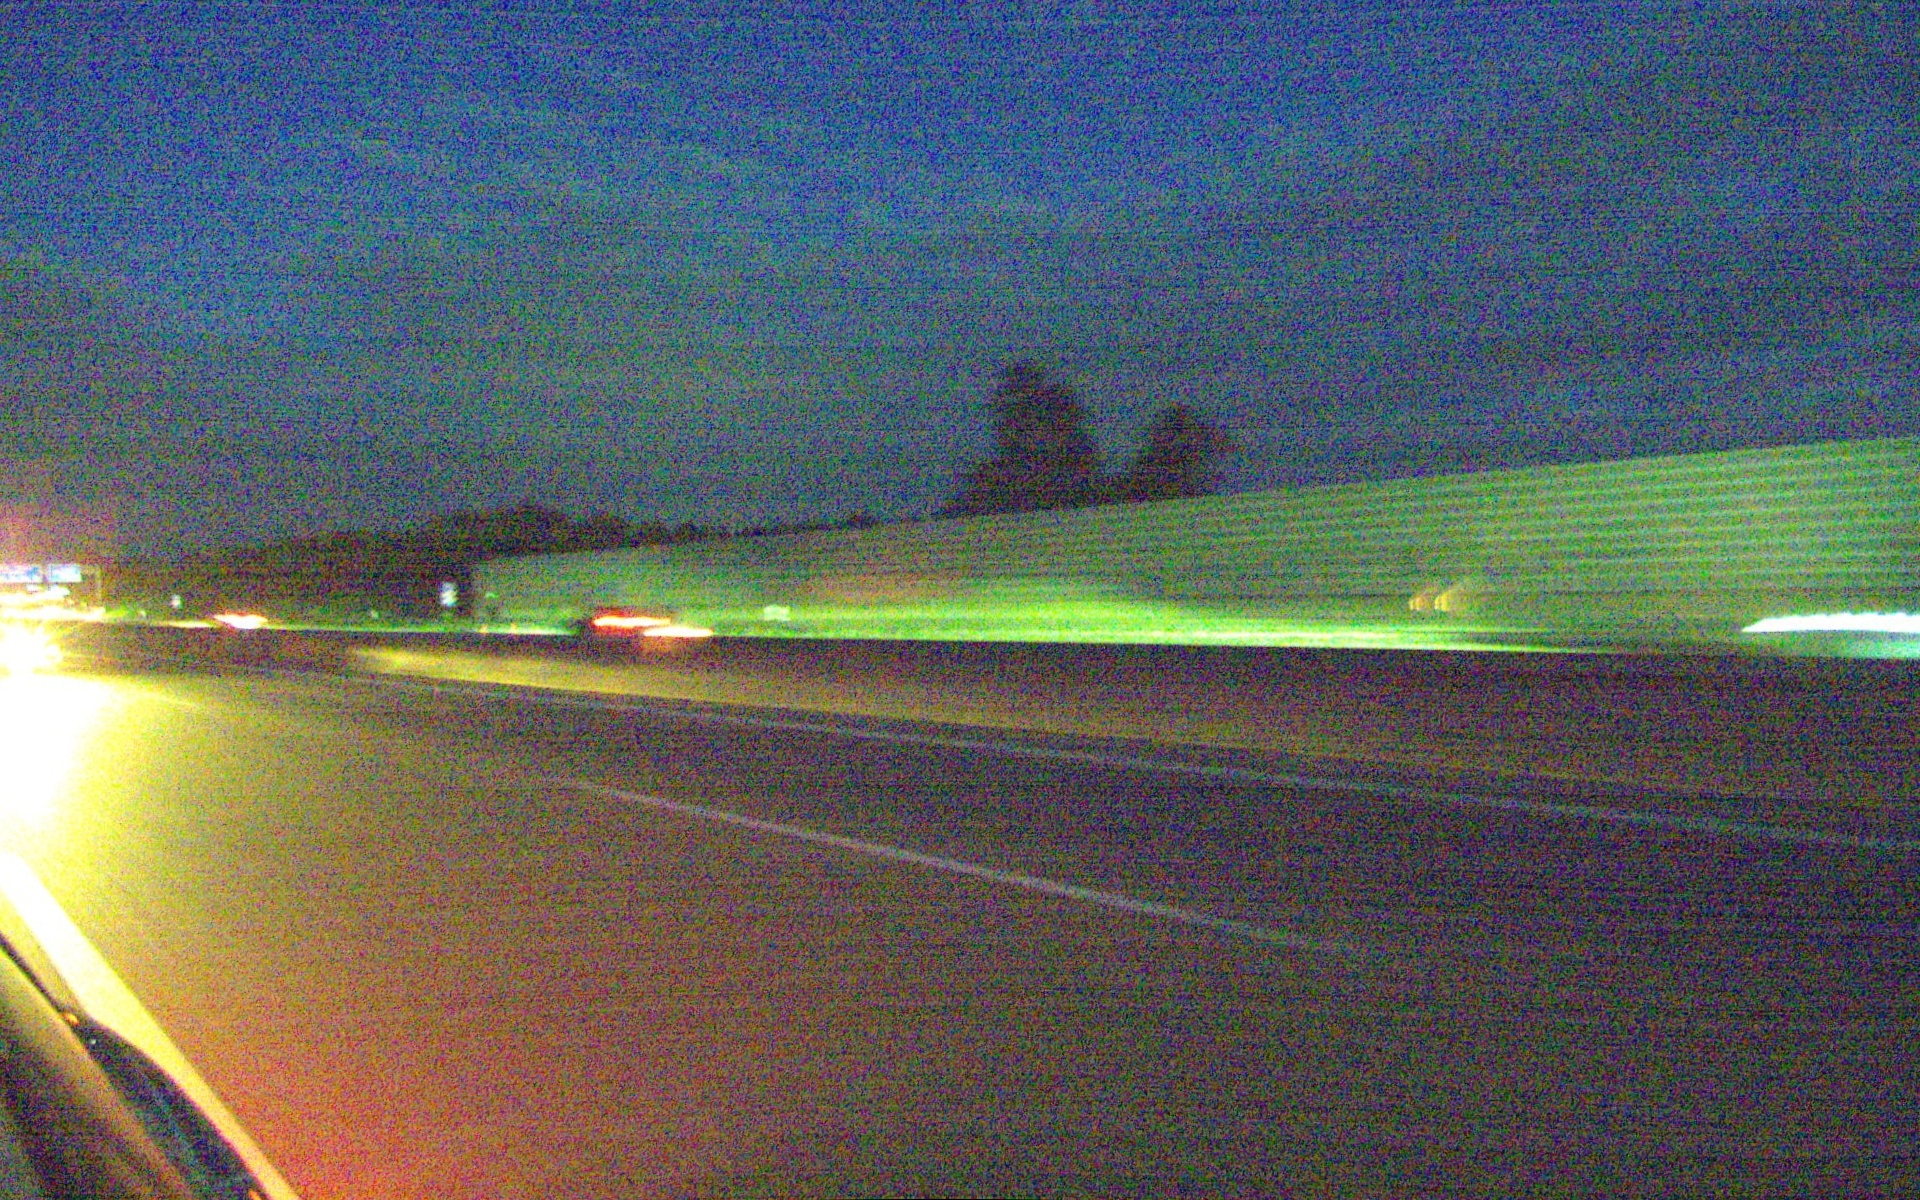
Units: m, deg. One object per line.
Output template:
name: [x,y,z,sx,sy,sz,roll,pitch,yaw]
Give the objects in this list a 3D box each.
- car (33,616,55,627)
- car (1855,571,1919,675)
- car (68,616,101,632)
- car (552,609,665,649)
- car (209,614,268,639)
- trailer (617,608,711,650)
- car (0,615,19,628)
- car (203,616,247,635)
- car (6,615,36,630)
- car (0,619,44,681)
car: [-153.942,3.680,170.071,5.189,1.734,2.097,-2,0,41]
car: [16.437,0.296,14.683,5.106,1.567,2.097,-1,0,41]
car: [-98.390,2.699,113.728,5.106,1.710,2.097,-1,0,41]
car: [-14.682,1.203,42.133,5.240,1.492,2.161,-1,1,41]
car: [-48.520,1.736,67.989,5.106,1.567,2.097,-1,0,41]
trailer: [-11.533,1.122,39.353,3.127,1.492,2.161,-1,1,41]
car: [-137.133,3.138,145.469,5.623,1.734,2.097,-1,0,41]
car: [-64.195,2.219,88.322,5.108,1.567,2.096,-1,0,42]
car: [-115.243,2.719,124.196,5.623,1.734,2.097,-1,0,41]
car: [-26.617,1.352,27.437,5.647,1.530,1.973,-2,0,41]
